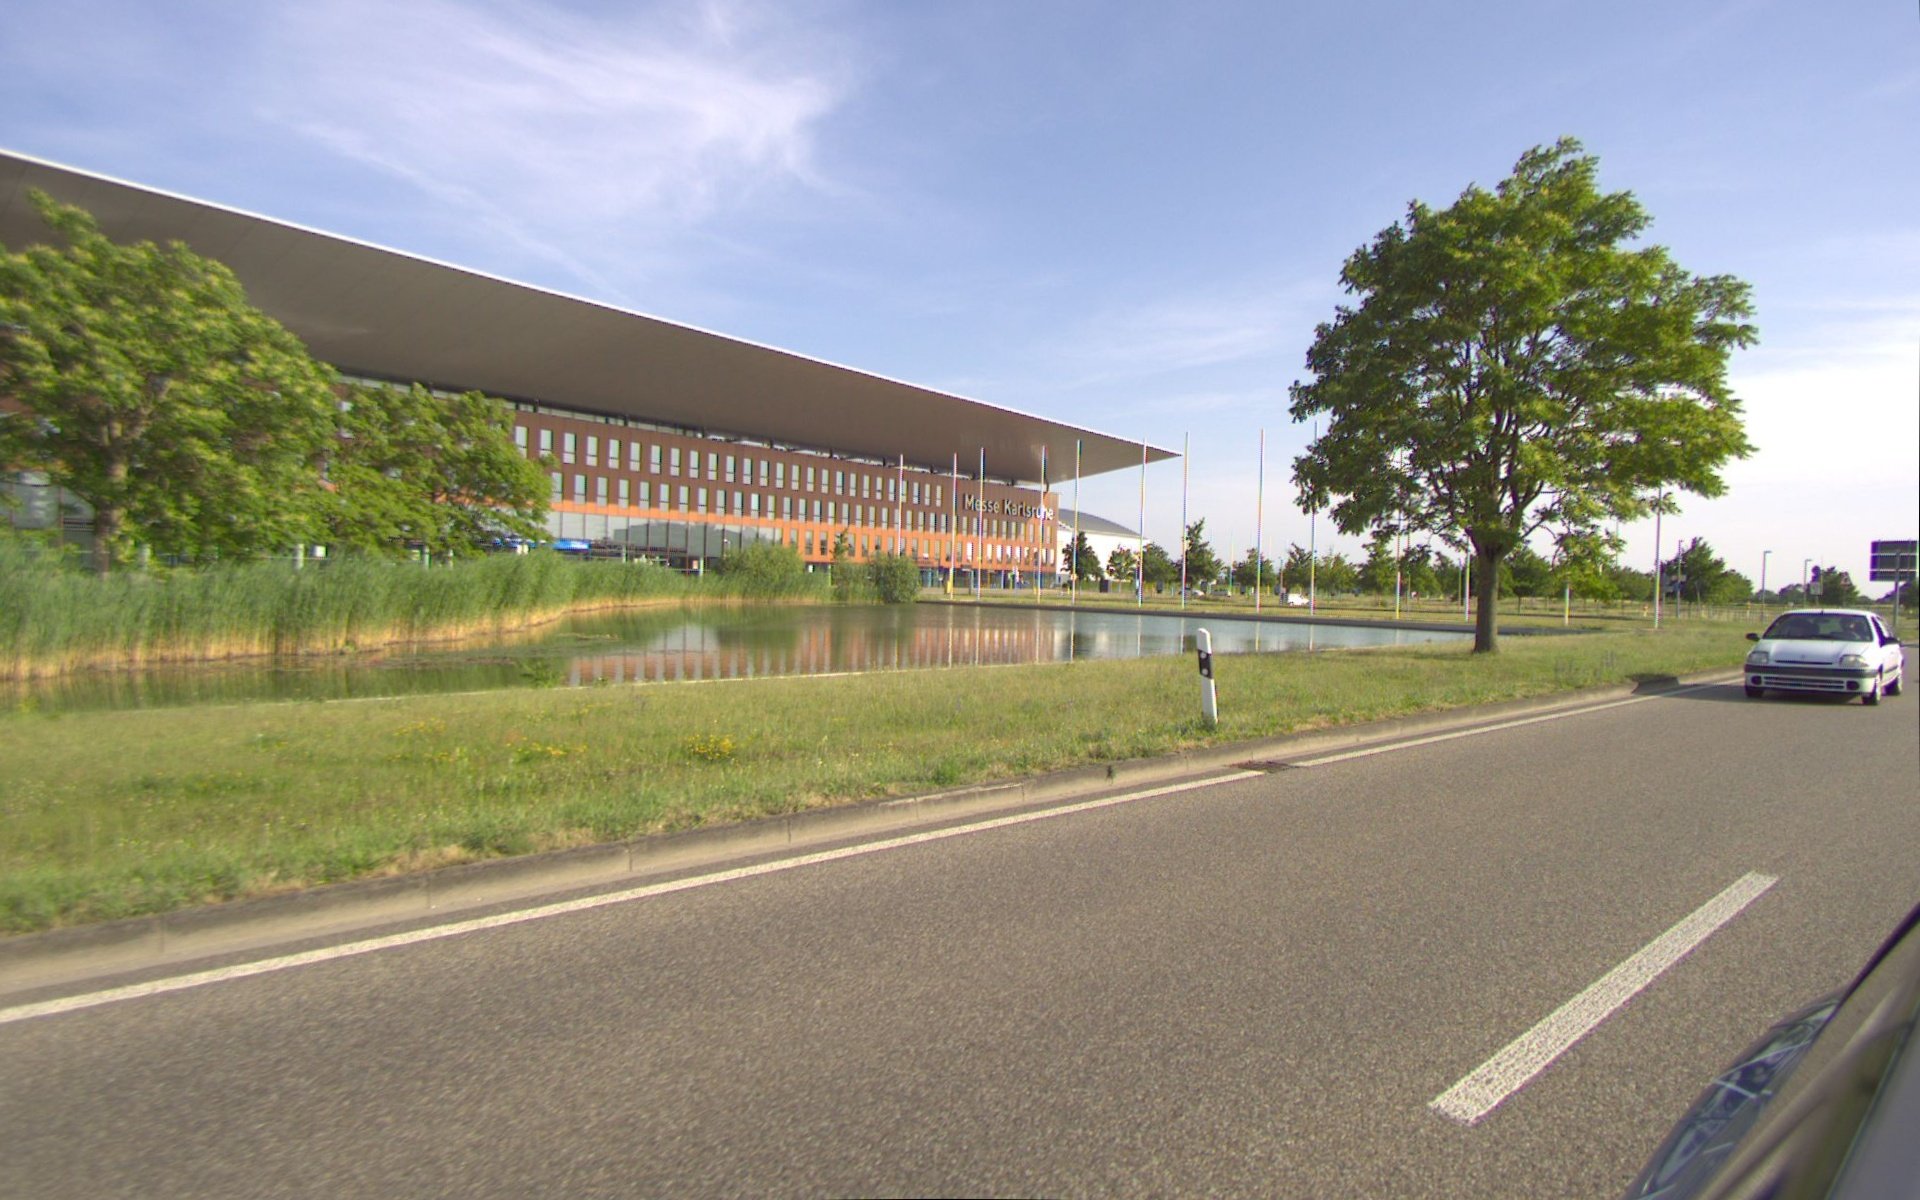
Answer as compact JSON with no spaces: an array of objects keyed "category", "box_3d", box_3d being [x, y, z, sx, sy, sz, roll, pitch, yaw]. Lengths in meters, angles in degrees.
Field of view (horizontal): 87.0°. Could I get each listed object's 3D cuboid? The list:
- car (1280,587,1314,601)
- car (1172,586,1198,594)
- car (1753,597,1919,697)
[{"category":"car","box_3d":[38.876,-0.689,116.749,3.492,1.473,1.714,1,0,-29]},{"category":"car","box_3d":[38.011,-1.766,171.205,1.461,1.295,4.203,1,1,-43]},{"category":"car","box_3d":[14.071,0.676,16.160,3.391,1.396,1.577,0,1,-40]}]
